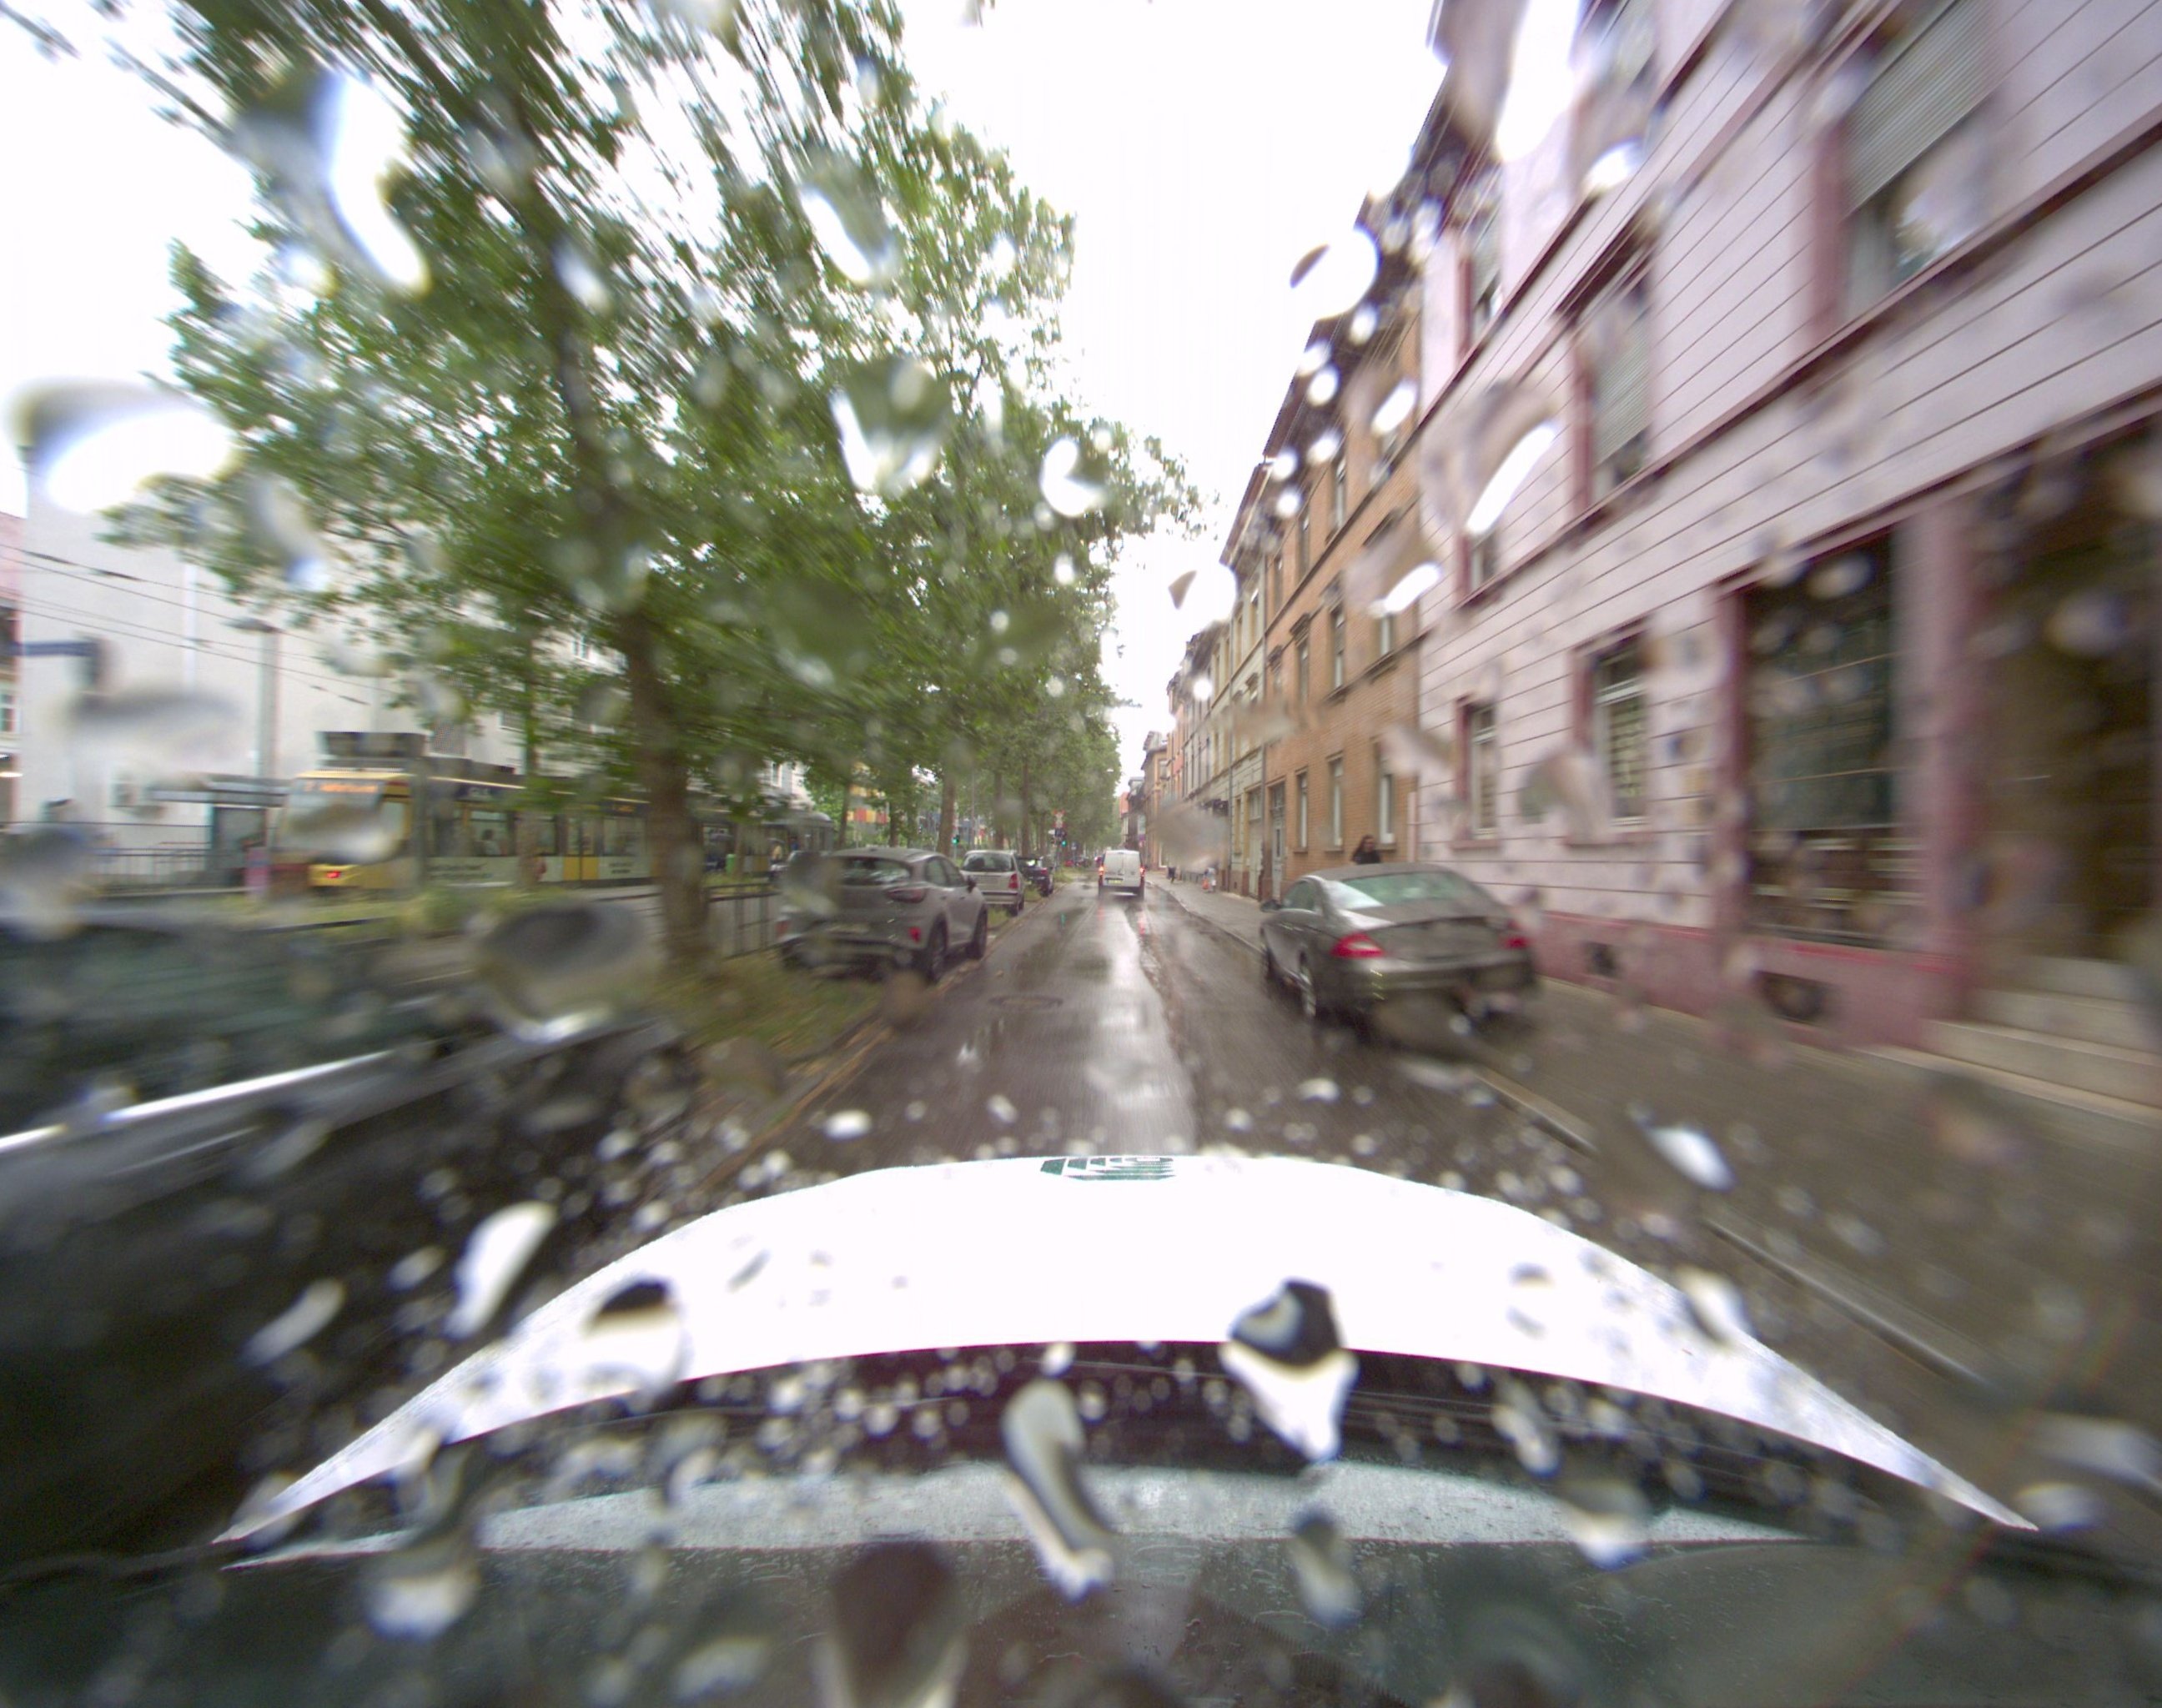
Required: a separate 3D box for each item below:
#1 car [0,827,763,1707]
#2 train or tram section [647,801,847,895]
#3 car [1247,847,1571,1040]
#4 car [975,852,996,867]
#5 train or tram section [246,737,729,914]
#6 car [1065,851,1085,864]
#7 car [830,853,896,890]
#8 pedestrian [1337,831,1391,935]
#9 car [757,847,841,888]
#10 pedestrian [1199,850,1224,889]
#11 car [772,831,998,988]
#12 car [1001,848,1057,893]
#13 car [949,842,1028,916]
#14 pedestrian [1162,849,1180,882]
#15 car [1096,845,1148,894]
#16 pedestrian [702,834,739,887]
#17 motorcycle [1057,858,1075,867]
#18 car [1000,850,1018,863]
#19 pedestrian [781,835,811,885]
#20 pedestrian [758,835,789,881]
[{"bbox_3d":[-2.593,0.689,1.847,1.822,1.503,4.614,2,0,1],"label":"car"},{"bbox_3d":[-14.820,-0.045,38.318,3.095,3.559,14.674,0,-1,1],"label":"train or tram section"},{"bbox_3d":[3.008,0.708,8.658,1.805,1.421,4.702,-3,0,4],"label":"car"},{"bbox_3d":[-9.727,0.551,83.507,1.990,1.415,3.993,1,0,-5],"label":"car"},{"bbox_3d":[-15.084,-0.397,23.674,3.095,3.559,14.577,0,-1,1],"label":"train or tram section"},{"bbox_3d":[-0.652,0.414,90.630,1.985,1.387,4.003,1,0,3],"label":"car"},{"bbox_3d":[-10.261,0.796,38.614,1.987,1.613,4.000,1,0,1],"label":"car"},{"bbox_3d":[4.767,0.478,13.735,0.636,1.684,0.603,-2,0,0],"label":"pedestrian"},{"bbox_3d":[-10.503,0.465,30.578,1.733,1.343,3.756,3,0,1],"label":"car"},{"bbox_3d":[5.261,0.632,32.876,0.837,1.511,1.108,-2,0,2],"label":"pedestrian"},{"bbox_3d":[-2.279,0.589,10.705,1.691,1.635,4.358,0,0,3],"label":"car"},{"bbox_3d":[-1.848,0.576,29.918,1.643,1.500,4.120,2,0,1],"label":"car"},{"bbox_3d":[-2.250,0.554,20.633,1.619,1.681,3.657,2,1,-1],"label":"car"},{"bbox_3d":[4.930,0.632,44.607,0.837,1.716,1.108,-3,0,2],"label":"pedestrian"},{"bbox_3d":[1.594,0.612,32.072,1.896,1.797,4.115,1,-1,2],"label":"car"},{"bbox_3d":[-11.948,0.209,27.002,0.815,1.703,0.872,1,0,0],"label":"pedestrian"},{"bbox_3d":[-1.507,0.820,81.923,1.697,0.864,0.578,1,0,6],"label":"motorcycle"},{"bbox_3d":[-8.948,0.344,101.230,1.992,1.581,3.990,1,0,-8],"label":"car"},{"bbox_3d":[-11.792,0.254,33.724,0.865,2.013,0.821,1,0,4],"label":"pedestrian"},{"bbox_3d":[-11.851,0.149,31.383,0.815,1.703,0.872,1,0,0],"label":"pedestrian"}]
